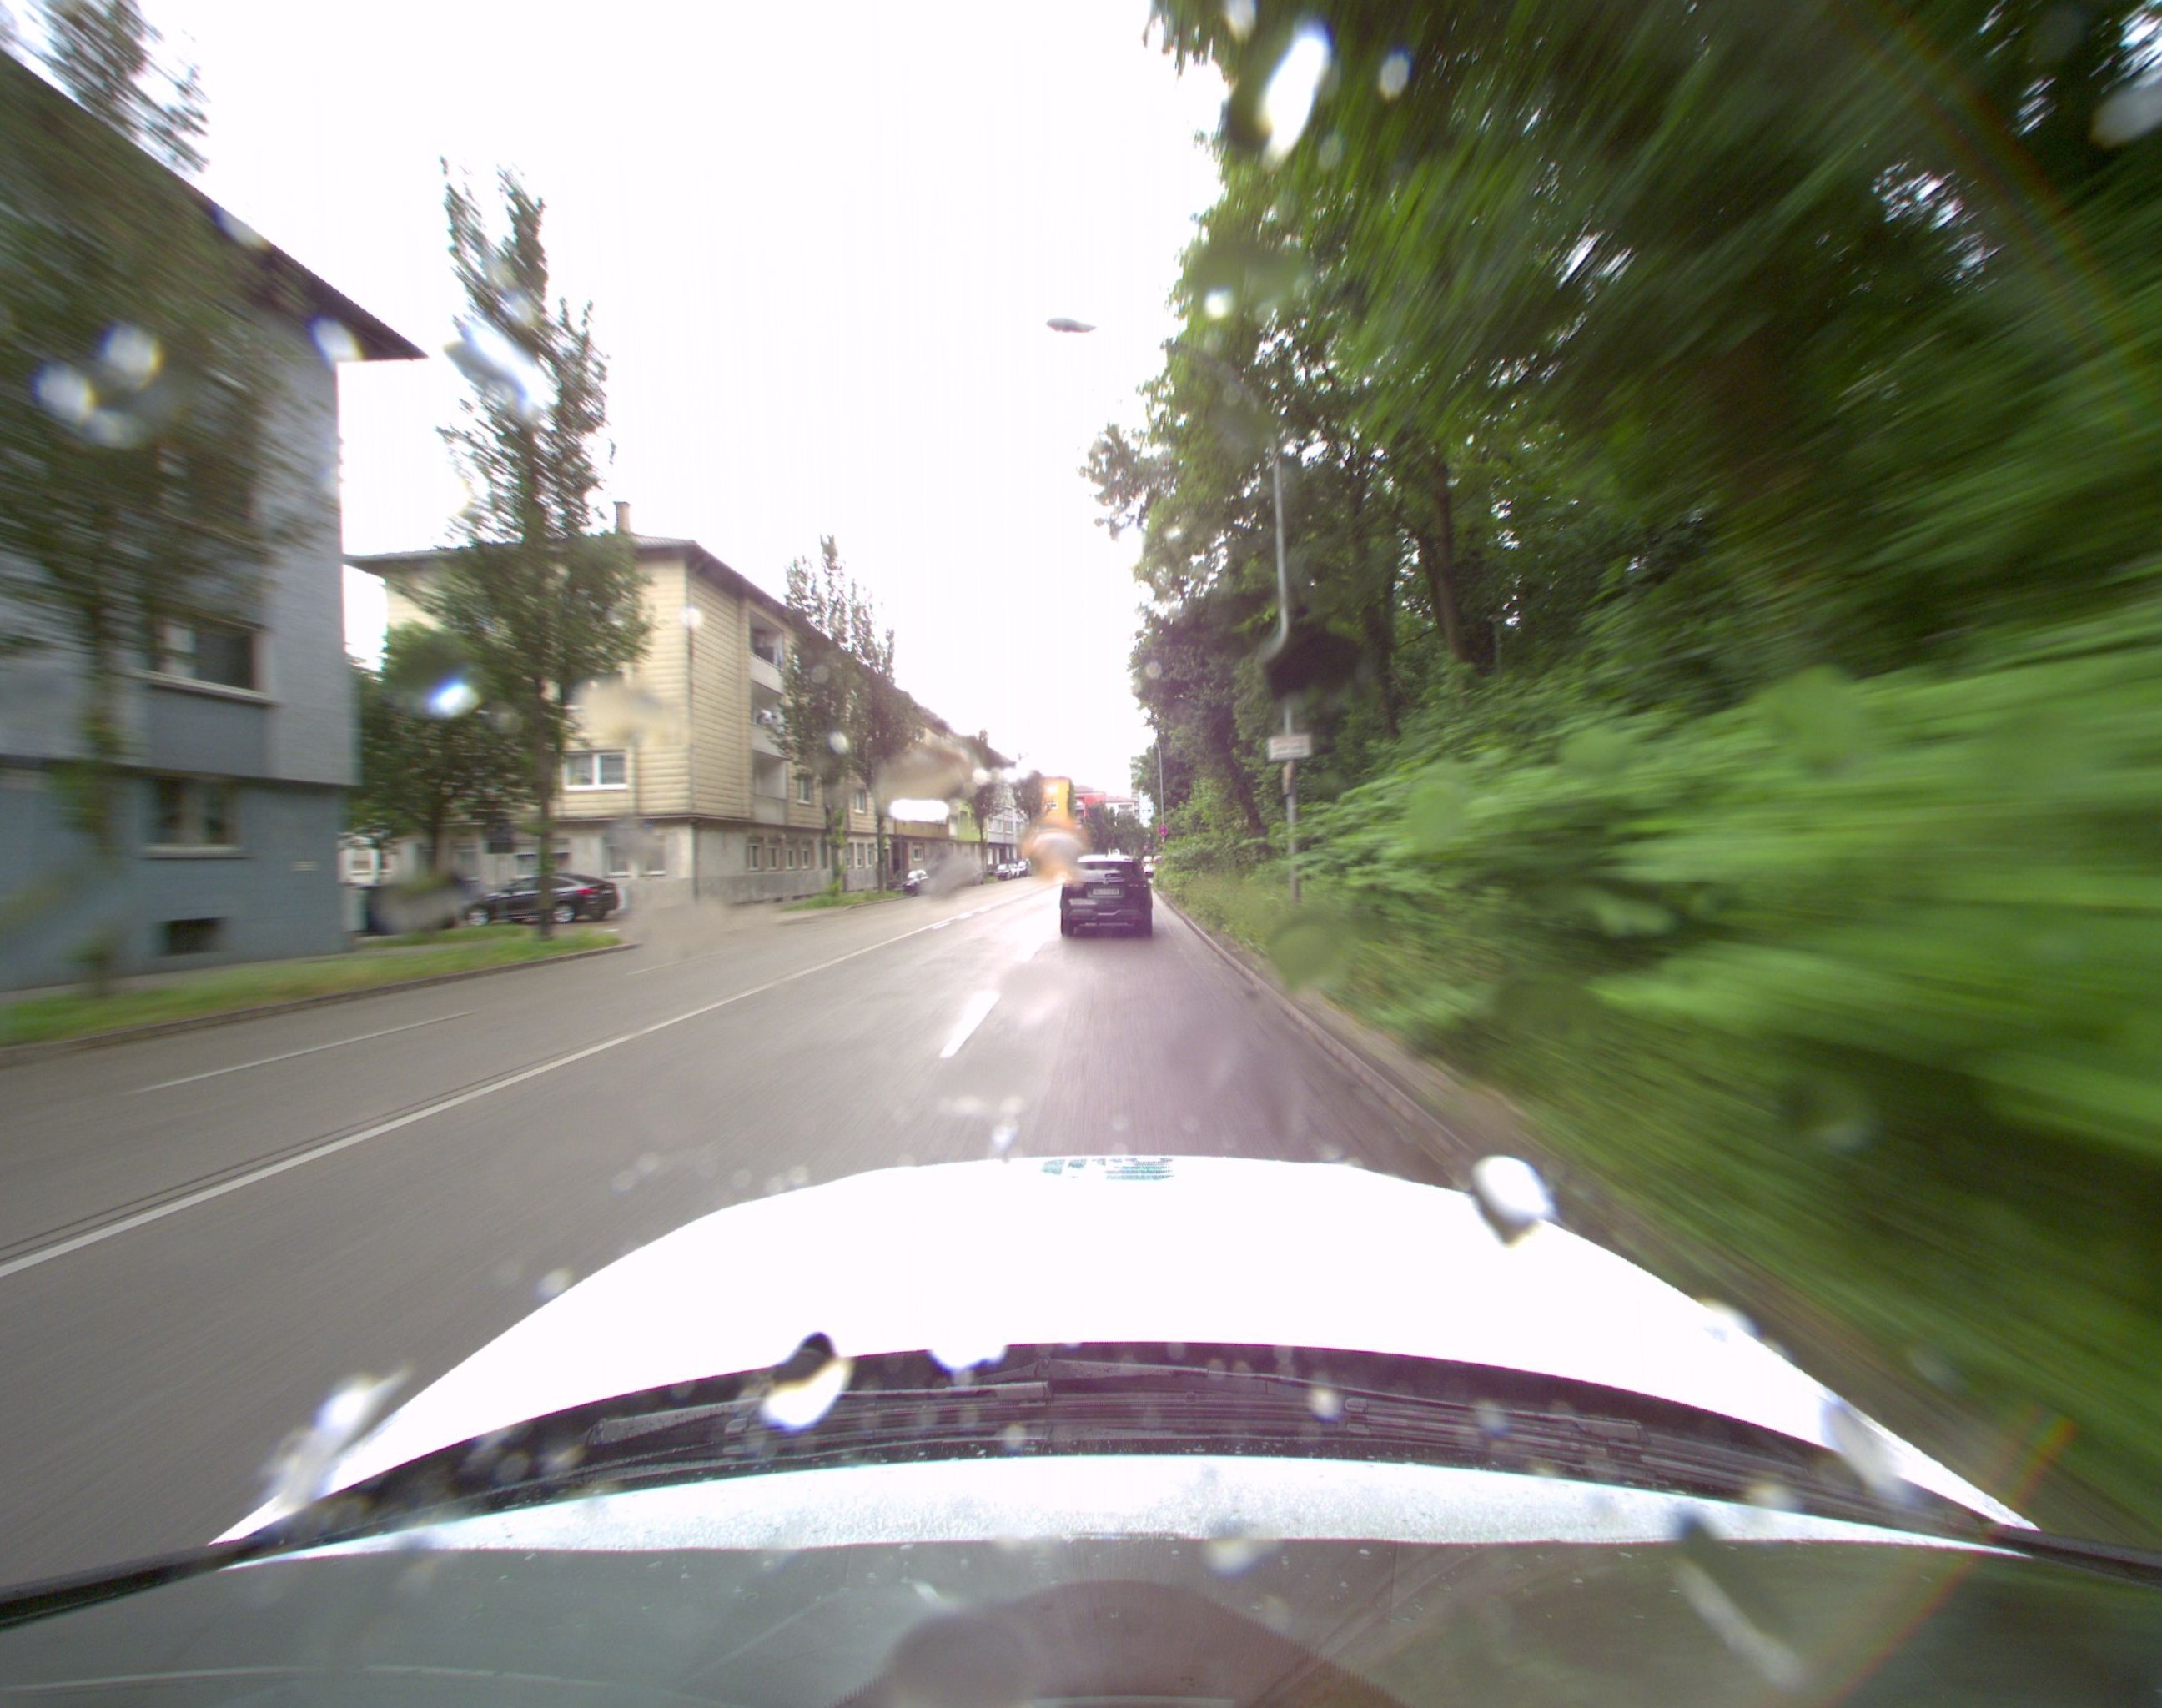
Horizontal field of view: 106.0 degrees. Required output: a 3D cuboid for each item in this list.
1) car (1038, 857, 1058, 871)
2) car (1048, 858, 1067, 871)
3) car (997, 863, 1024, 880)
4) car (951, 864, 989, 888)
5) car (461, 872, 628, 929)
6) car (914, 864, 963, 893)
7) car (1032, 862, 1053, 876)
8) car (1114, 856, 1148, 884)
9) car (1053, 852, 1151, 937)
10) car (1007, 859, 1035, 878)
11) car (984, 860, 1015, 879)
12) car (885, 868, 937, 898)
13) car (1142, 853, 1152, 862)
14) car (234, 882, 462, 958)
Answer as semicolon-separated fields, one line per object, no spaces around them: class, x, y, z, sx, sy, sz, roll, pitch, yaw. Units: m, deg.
car;-3.997;1.237;100.319;1.672;1.449;4.284;-5;0;7
car;-3.050;1.356;106.197;1.703;1.425;4.331;-4;0;7
car;-6.566;1.592;76.140;1.672;1.376;4.006;-4;0;5
car;-7.988;1.562;58.829;1.710;1.488;4.520;-4;0;4
car;-17.496;1.498;26.689;4.132;1.579;1.928;-2;0;3
car;-8.617;1.434;49.621;1.810;1.488;4.793;-4;0;3
car;-4.436;1.714;94.693;1.680;1.358;4.587;-5;0;6
car;3.241;0.990;51.895;1.877;1.711;4.008;-1;0;7
car;0.483;0.767;17.449;1.837;1.582;4.002;-1;0;2
car;-5.987;1.428;81.886;1.881;1.766;4.609;-3;0;6
car;-6.996;1.329;70.321;1.810;1.372;4.684;-4;0;3
car;-9.038;1.524;43.504;1.618;1.387;3.993;-3;0;4
car;11.927;0.578;146.405;1.698;1.478;3.686;-3;0;5
car;-17.881;1.562;20.058;4.023;1.494;1.692;-2;-2;-43
